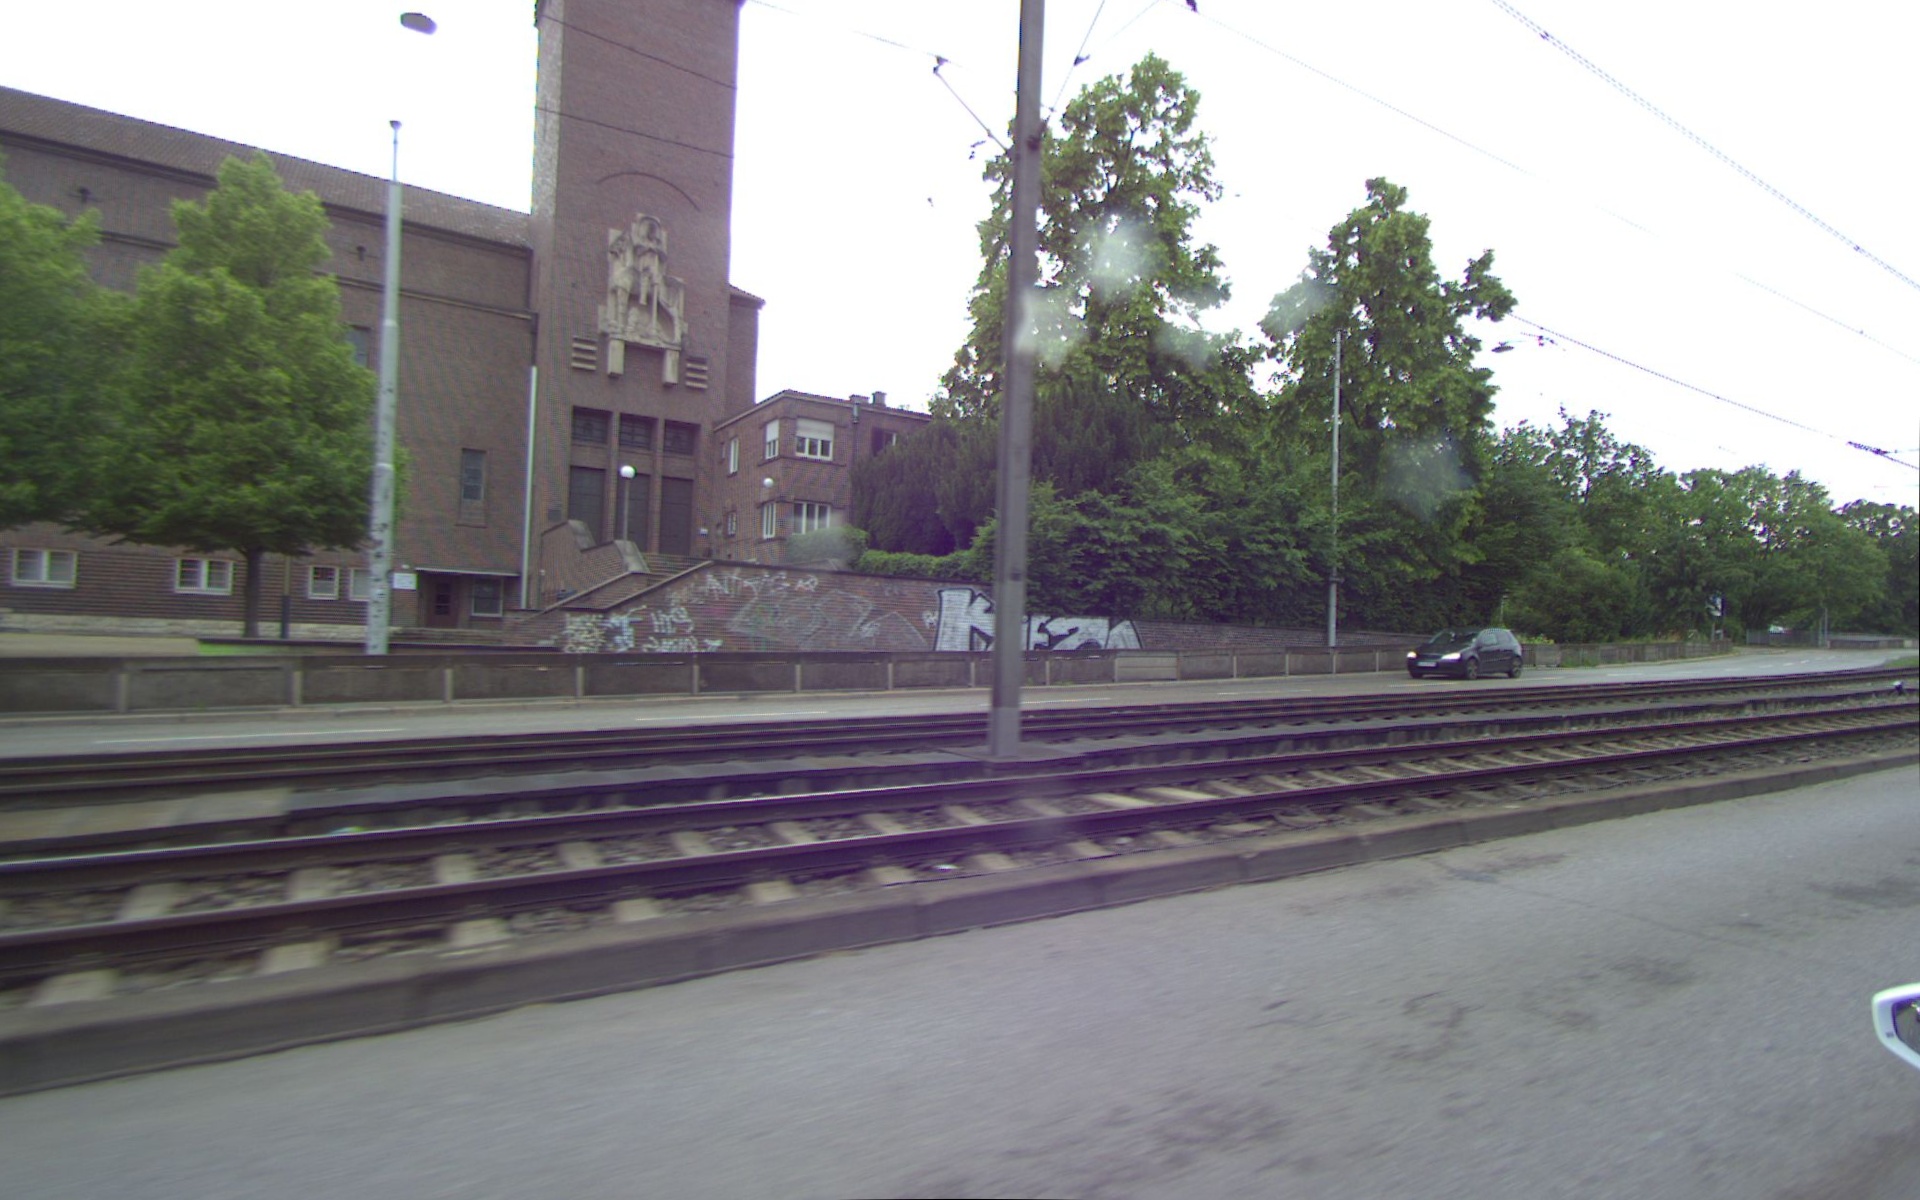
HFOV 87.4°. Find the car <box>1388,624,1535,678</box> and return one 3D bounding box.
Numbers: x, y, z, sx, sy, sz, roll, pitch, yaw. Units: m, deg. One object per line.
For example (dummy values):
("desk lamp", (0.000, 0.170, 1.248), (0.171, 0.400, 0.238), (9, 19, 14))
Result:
("car", (14.497, 1.461, 28.987), (4.277, 1.460, 1.953), (2, -3, -34))
